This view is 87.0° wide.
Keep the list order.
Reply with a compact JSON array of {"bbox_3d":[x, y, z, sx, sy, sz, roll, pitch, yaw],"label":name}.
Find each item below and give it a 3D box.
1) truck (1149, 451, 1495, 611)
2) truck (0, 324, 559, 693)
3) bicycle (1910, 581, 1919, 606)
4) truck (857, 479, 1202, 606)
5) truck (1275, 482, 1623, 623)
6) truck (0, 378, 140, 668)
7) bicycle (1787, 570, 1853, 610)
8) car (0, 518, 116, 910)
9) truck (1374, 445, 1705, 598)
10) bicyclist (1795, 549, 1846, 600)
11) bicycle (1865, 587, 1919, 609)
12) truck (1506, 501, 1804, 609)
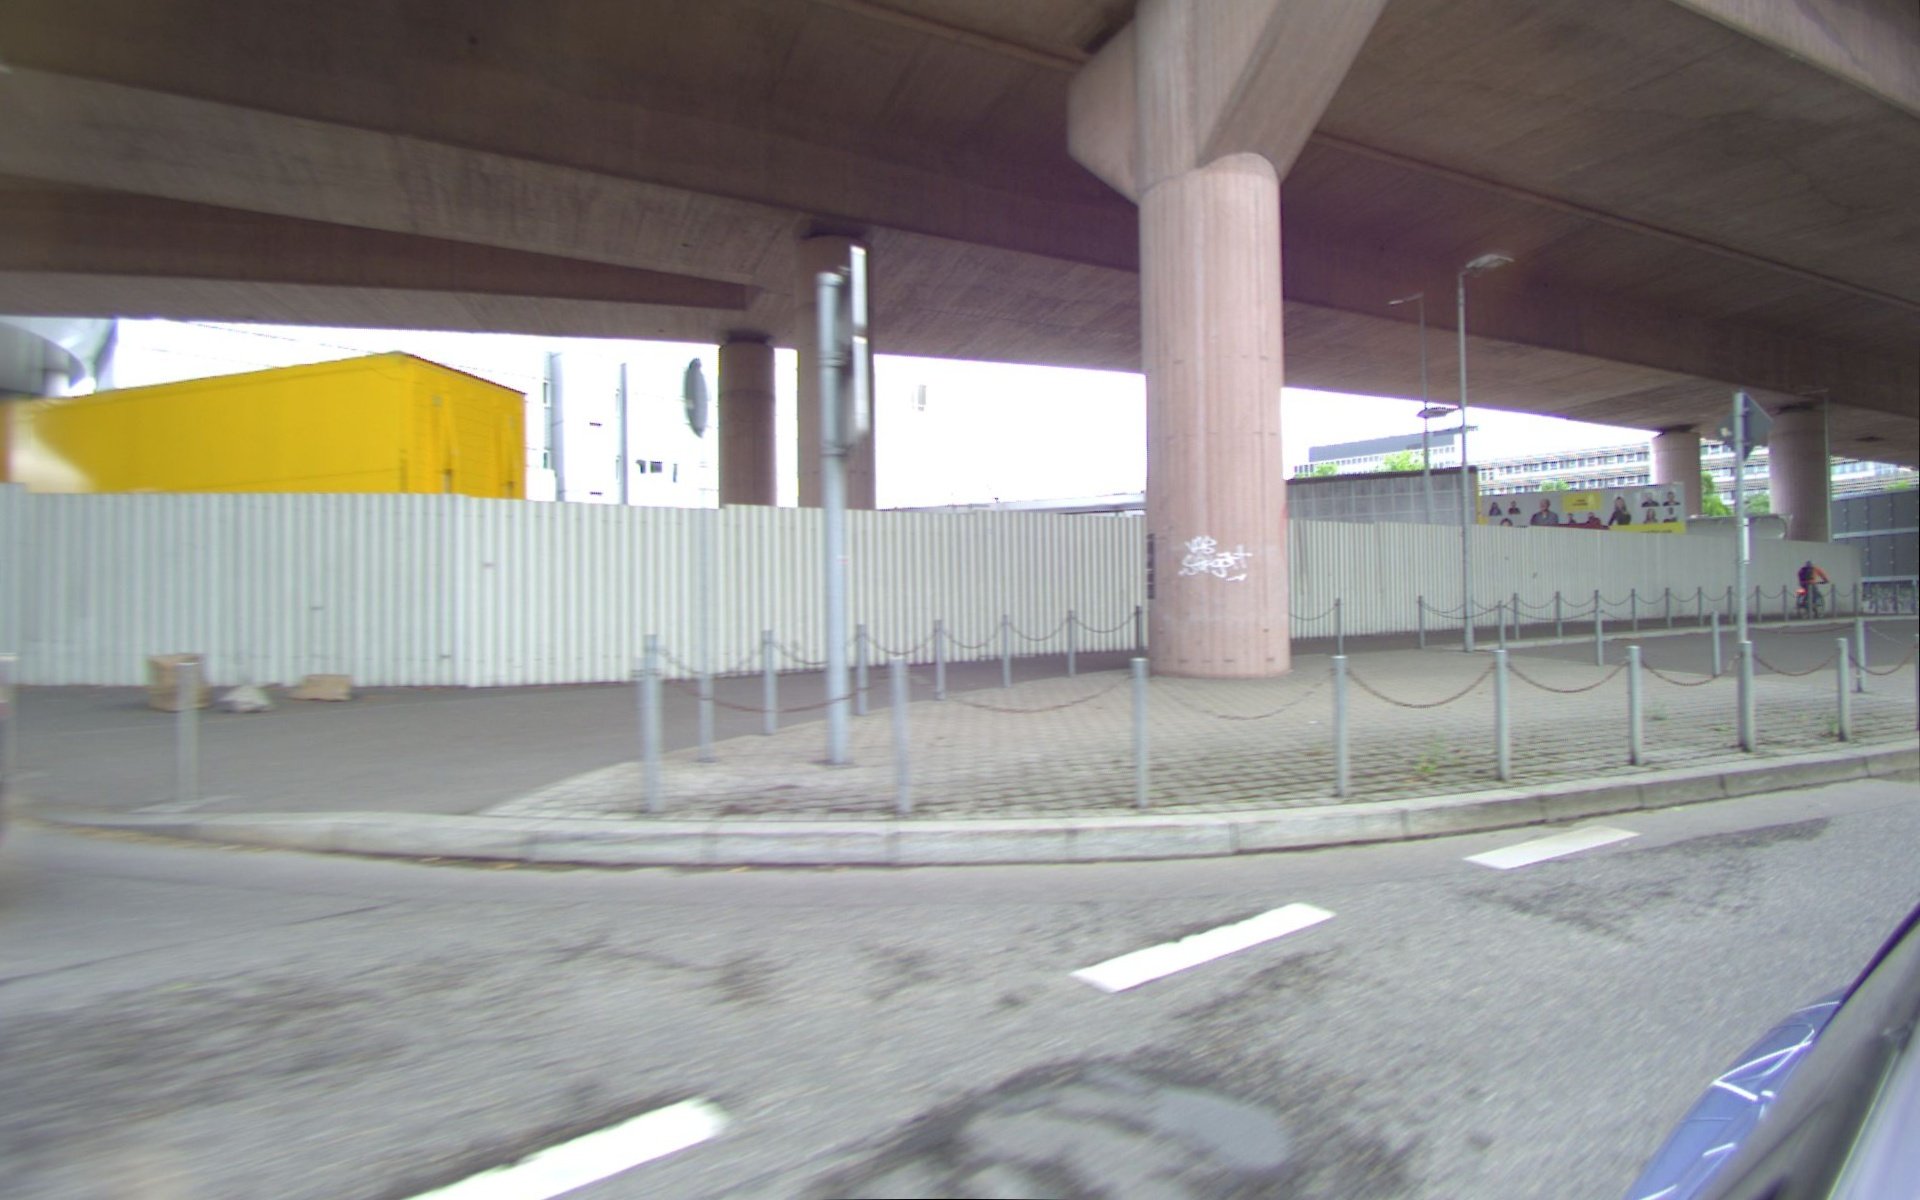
[{"bbox_3d":[10.801,-1.984,31.254,9.586,4.498,3.133,0,1,15],"label":"truck"},{"bbox_3d":[-11.166,-1.182,16.429,8.597,4.980,3.131,-1,-1,17],"label":"truck"},{"bbox_3d":[43.444,-0.328,45.011,0.611,1.120,2.319,2,-2,13],"label":"bicycle"},{"bbox_3d":[1.840,-1.534,26.575,8.601,2.979,3.132,1,3,18],"label":"truck"},{"bbox_3d":[15.596,-1.478,33.315,9.926,4.235,2.883,0,1,17],"label":"truck"},{"bbox_3d":[-20.338,-1.268,19.265,8.597,4.966,3.131,-1,-1,17],"label":"truck"},{"bbox_3d":[24.390,-0.301,28.691,2.089,1.111,0.805,-1,1,-32],"label":"bicycle"},{"bbox_3d":[-6.450,0.504,4.351,4.489,1.700,1.993,0,1,12],"label":"car"},{"bbox_3d":[20.014,-2.582,35.728,9.586,4.986,3.133,0,0,15],"label":"truck"},{"bbox_3d":[24.397,-0.726,28.689,1.045,1.423,0.799,-1,1,-32],"label":"bicyclist"},{"bbox_3d":[45.065,-0.092,48.890,0.387,1.037,2.067,1,-1,-20],"label":"bicycle"},{"bbox_3d":[29.745,-1.866,43.940,10.154,4.357,2.998,0,1,17],"label":"truck"}]
